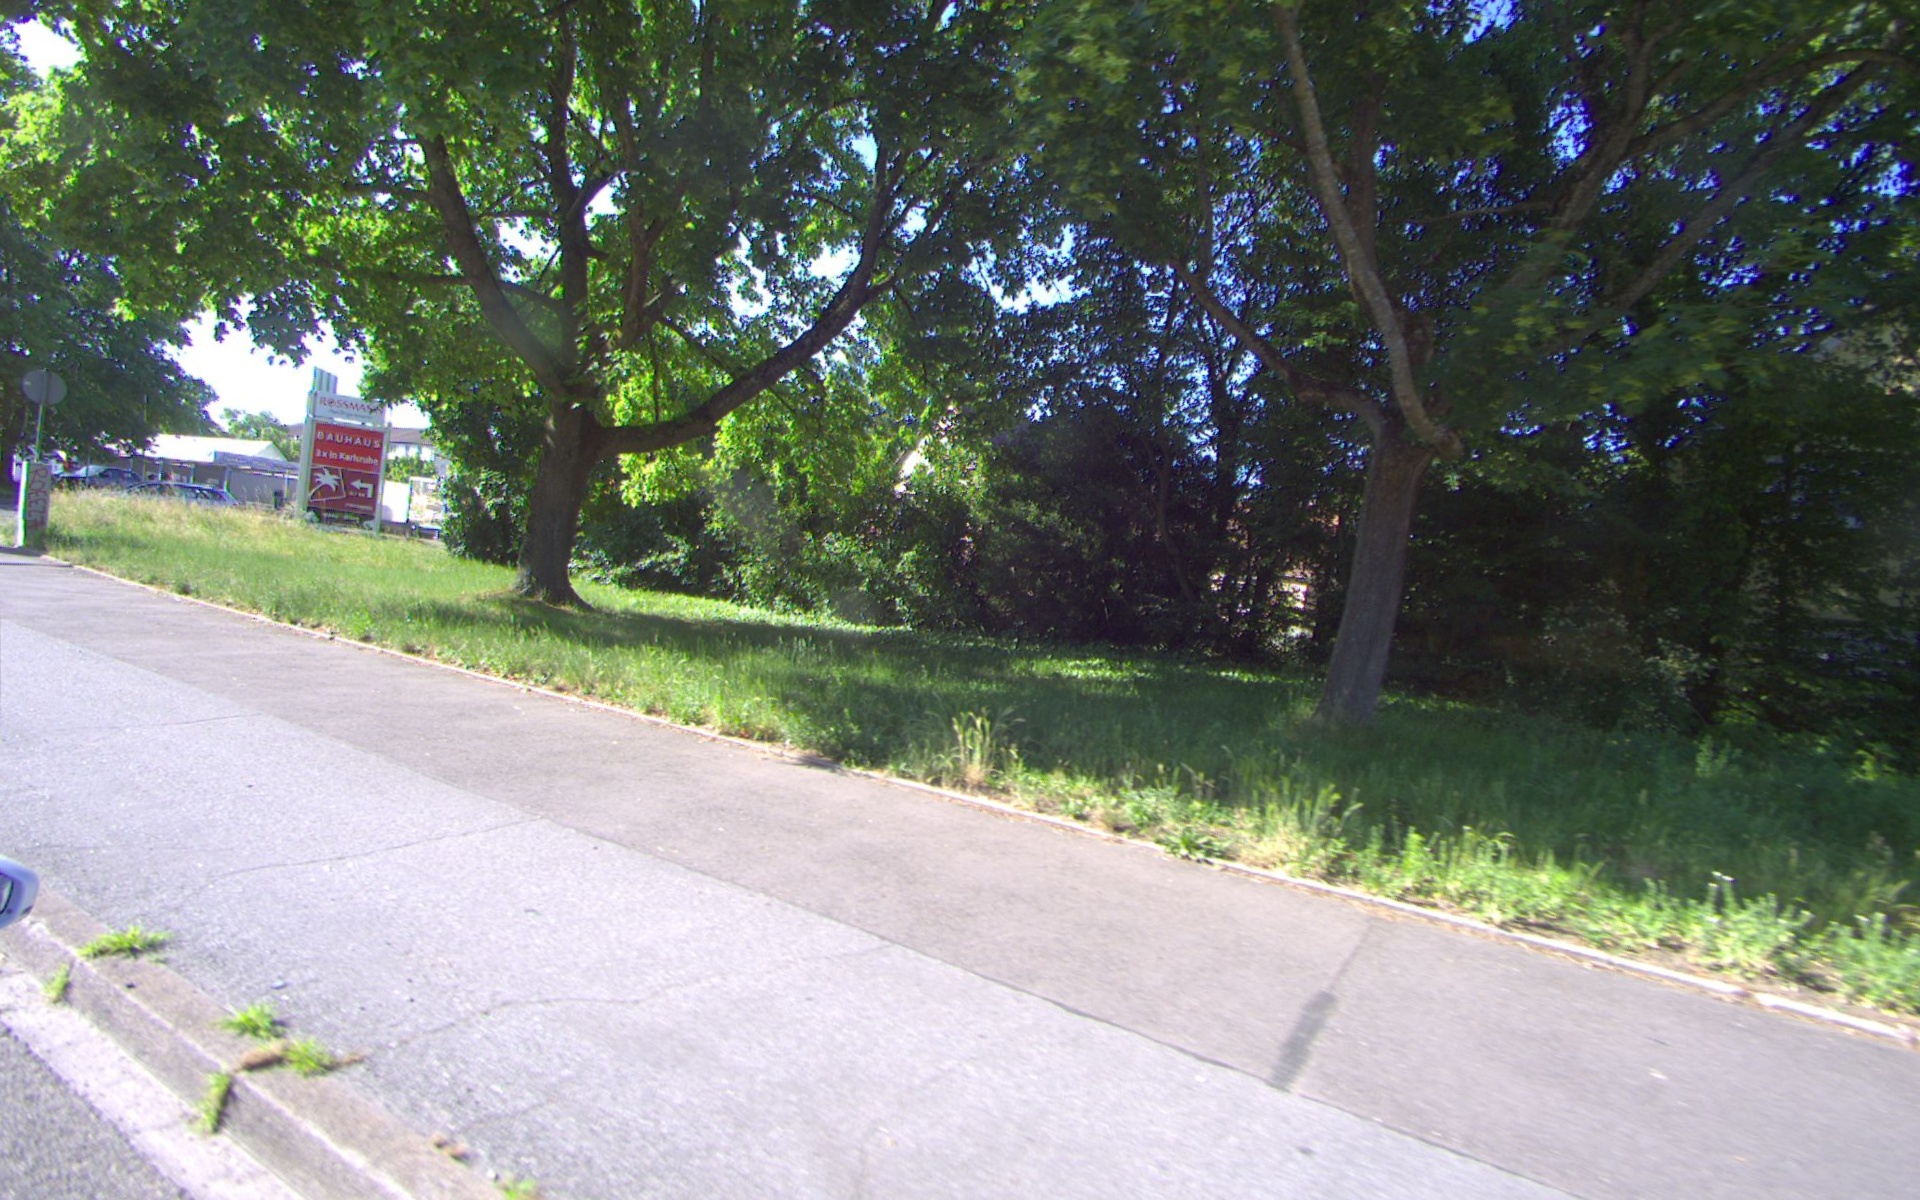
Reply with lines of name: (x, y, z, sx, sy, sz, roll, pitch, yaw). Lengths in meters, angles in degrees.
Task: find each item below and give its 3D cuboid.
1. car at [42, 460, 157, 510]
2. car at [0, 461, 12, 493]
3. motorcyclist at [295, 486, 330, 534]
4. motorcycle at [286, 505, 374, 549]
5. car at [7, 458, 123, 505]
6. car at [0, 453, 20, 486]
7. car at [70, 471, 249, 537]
car: (-41.920, -5.561, 49.127, 1.771, 1.630, 3.853, 7, -2, 12)
car: (-50.781, -6.612, 50.950, 1.772, 1.581, 3.850, 8, -2, -1)
motorcyclist: (-25.183, -3.497, 39.123, 0.858, 1.700, 0.824, 8, -1, -43)
motorcycle: (-24.764, -2.857, 39.602, 2.718, 1.285, 0.824, 9, -2, -43)
car: (-43.792, -5.777, 49.345, 1.771, 1.499, 3.853, 7, -2, 12)
car: (-56.362, -7.754, 57.280, 1.675, 1.704, 3.722, 7, -2, 28)
car: (-28.137, -3.337, 35.482, 1.973, 1.593, 4.609, 6, 0, 42)
